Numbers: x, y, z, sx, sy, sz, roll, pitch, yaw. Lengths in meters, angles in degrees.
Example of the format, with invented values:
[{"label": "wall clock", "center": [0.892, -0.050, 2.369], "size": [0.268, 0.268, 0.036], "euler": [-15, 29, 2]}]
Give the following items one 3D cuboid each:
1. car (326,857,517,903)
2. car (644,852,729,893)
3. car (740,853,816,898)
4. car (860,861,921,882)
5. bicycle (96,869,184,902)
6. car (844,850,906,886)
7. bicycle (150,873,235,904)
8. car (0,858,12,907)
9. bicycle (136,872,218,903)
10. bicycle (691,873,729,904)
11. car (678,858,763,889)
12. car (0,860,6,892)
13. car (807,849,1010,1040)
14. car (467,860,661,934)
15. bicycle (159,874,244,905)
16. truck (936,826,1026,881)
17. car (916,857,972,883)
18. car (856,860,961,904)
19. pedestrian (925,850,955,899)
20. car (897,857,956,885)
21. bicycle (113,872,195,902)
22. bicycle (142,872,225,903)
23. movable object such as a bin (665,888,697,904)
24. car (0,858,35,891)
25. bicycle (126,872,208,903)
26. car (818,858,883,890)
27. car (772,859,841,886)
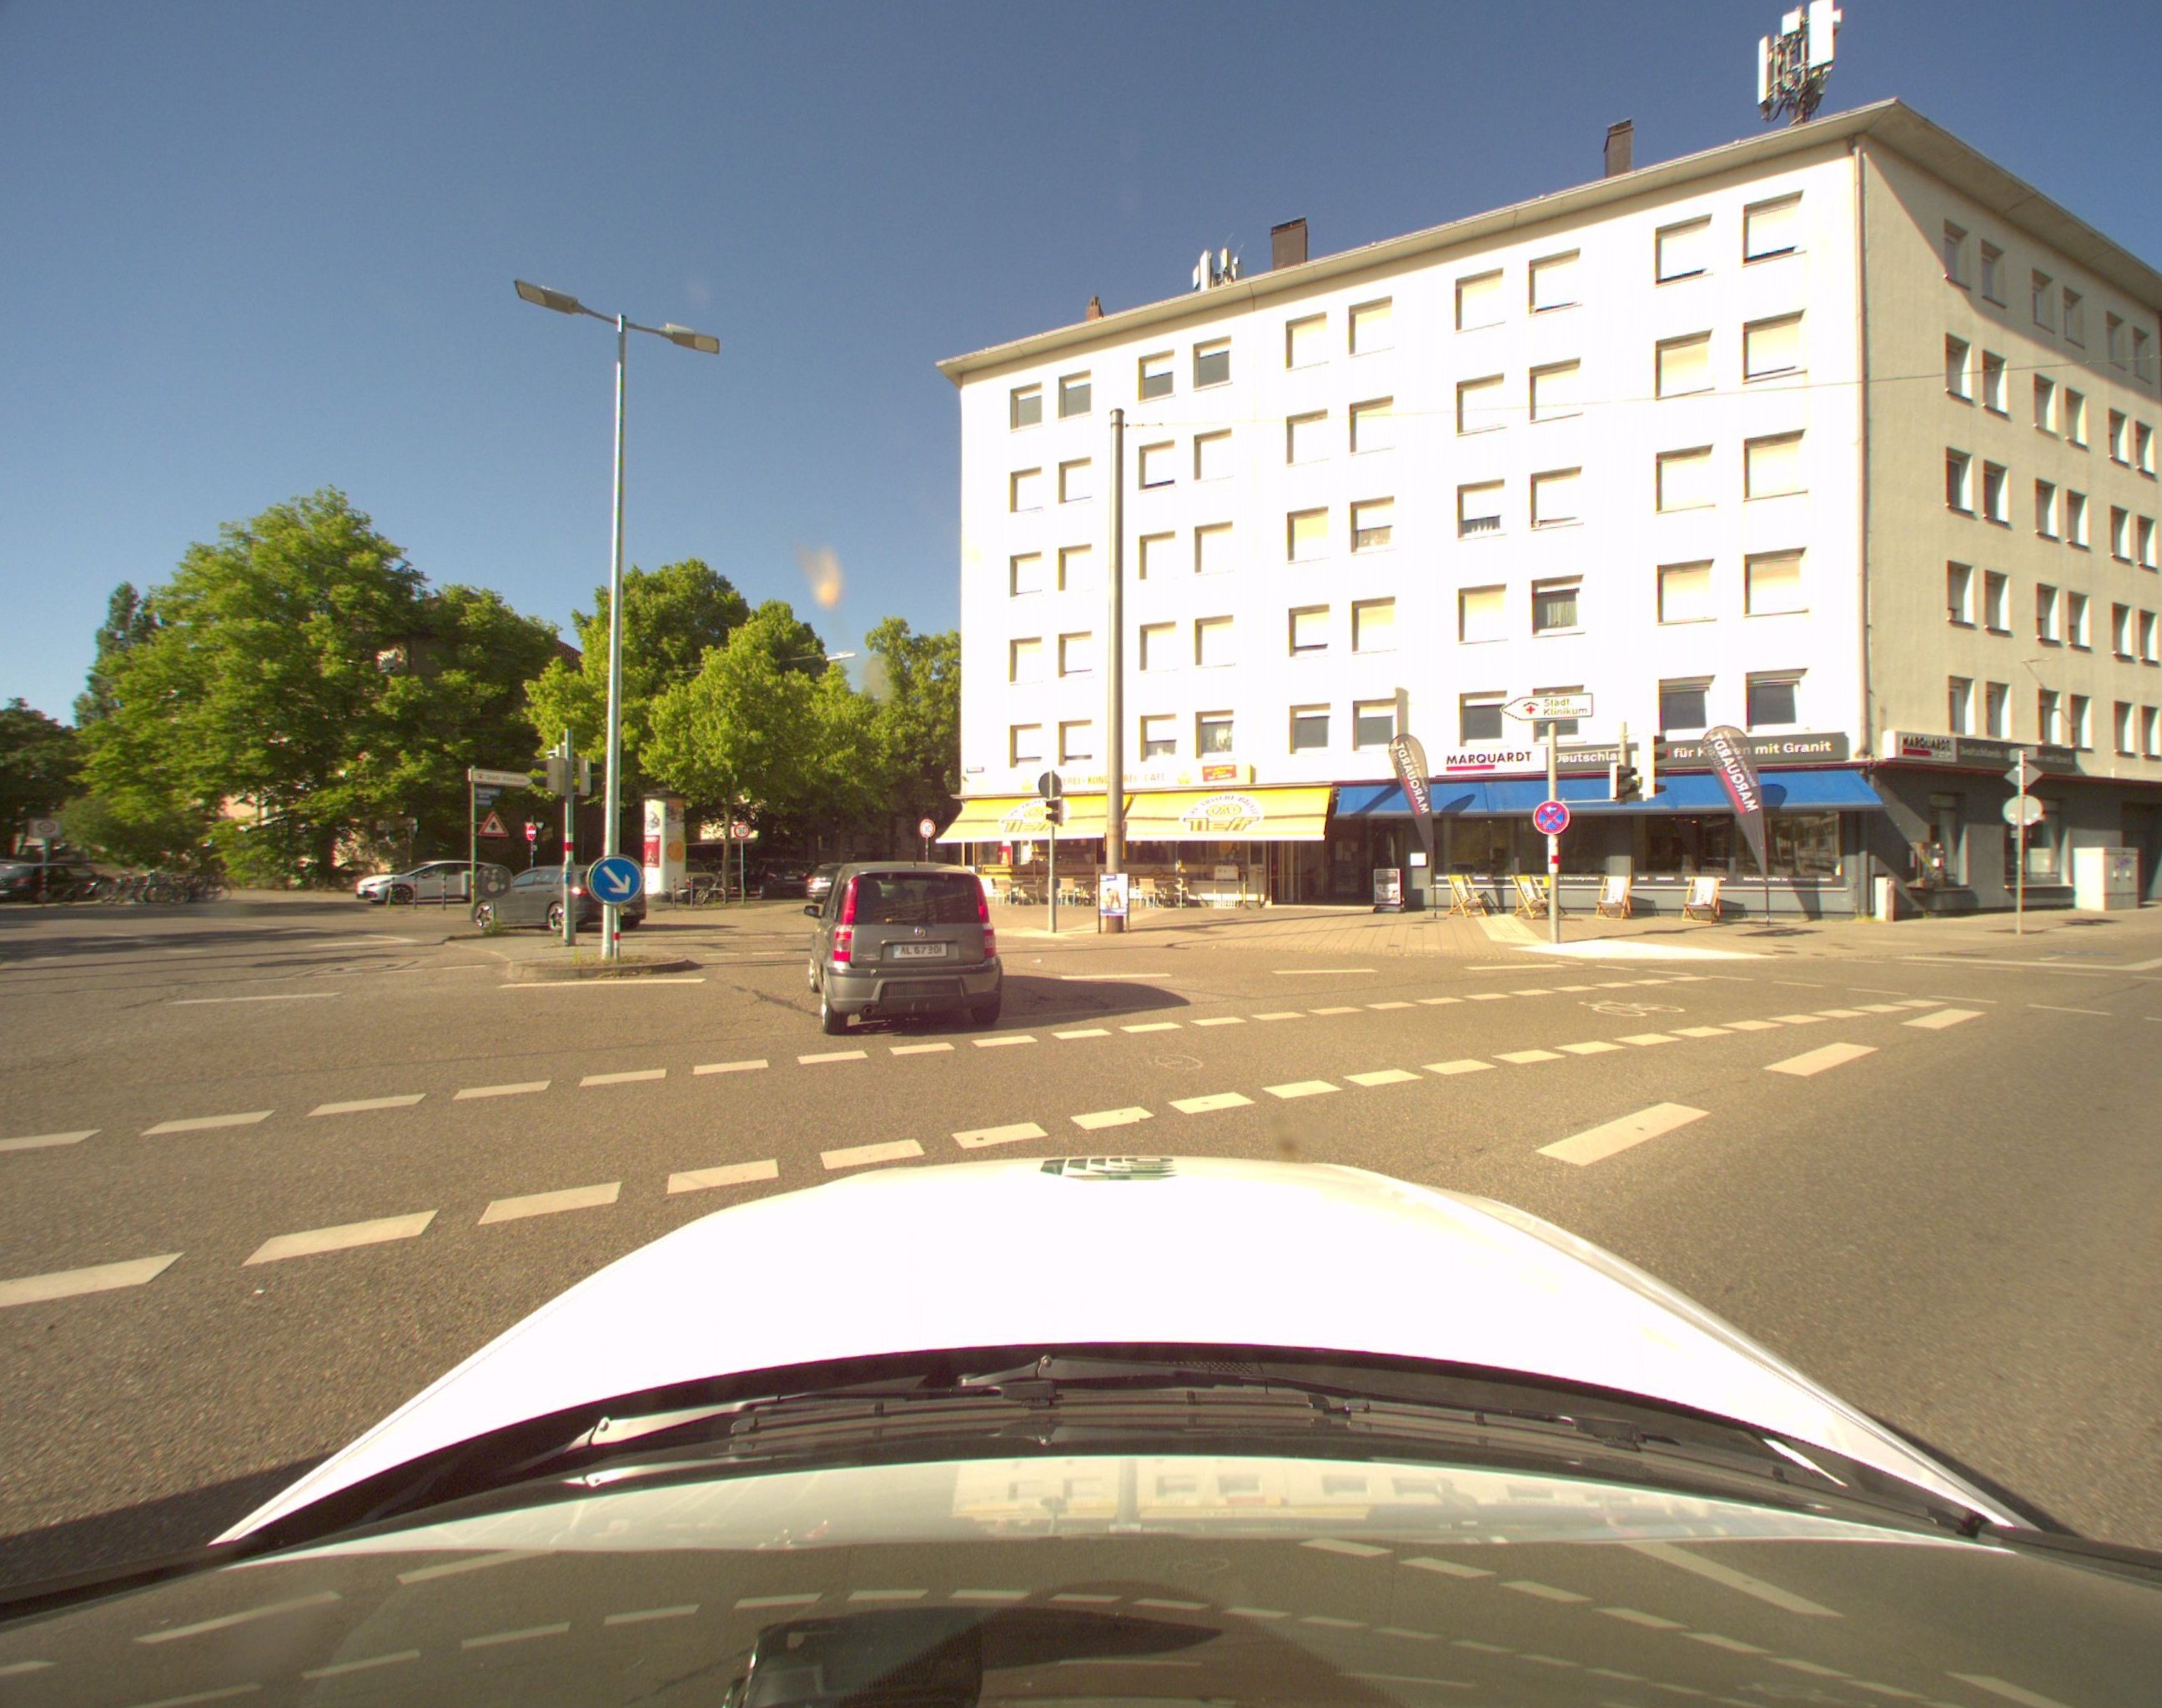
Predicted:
[{"label": "car", "center": [-23.925, 0.880, 29.802], "size": [1.899, 1.518, 5.068], "euler": [0, 0, 29]}, {"label": "car", "center": [-16.464, 0.761, 33.936], "size": [3.950, 1.610, 1.934], "euler": [-1, -1, 44]}, {"label": "car", "center": [-12.888, 0.866, 34.510], "size": [1.846, 1.671, 4.288], "euler": [0, 1, -38]}, {"label": "car", "center": [-12.561, 1.138, 53.922], "size": [1.749, 1.295, 4.435], "euler": [-2, -1, 19]}, {"label": "bicycle", "center": [-35.051, 1.152, 30.372], "size": [0.661, 1.177, 2.042], "euler": [-1, 0, 14]}, {"label": "car", "center": [-11.326, 0.753, 44.509], "size": [1.943, 1.873, 4.456], "euler": [0, 0, -33]}, {"label": "bicycle", "center": [-32.241, 1.220, 29.594], "size": [0.565, 1.031, 2.042], "euler": [-1, 0, 14]}, {"label": "car", "center": [-35.426, 0.879, 25.473], "size": [3.551, 1.508, 1.694], "euler": [0, -1, 26]}, {"label": "bicycle", "center": [-33.224, 1.208, 29.969], "size": [0.443, 1.031, 2.042], "euler": [-1, 0, 14]}, {"label": "bicycle", "center": [-13.474, 1.230, 29.609], "size": [0.350, 1.072, 1.598], "euler": [0, -1, 12]}, {"label": "car", "center": [-18.081, 0.949, 41.000], "size": [1.740, 1.486, 3.966], "euler": [0, 0, 16]}, {"label": "car", "center": [-51.517, 1.023, 36.612], "size": [1.612, 1.481, 3.590], "euler": [0, 0, -2]}, {"label": "car", "center": [-1.949, 0.745, 8.477], "size": [1.622, 1.562, 3.235], "euler": [0, 0, -20]}, {"label": "car", "center": [-11.406, 0.879, 18.000], "size": [3.714, 1.508, 1.692], "euler": [0, -1, 20]}, {"label": "bicycle", "center": [-31.593, 1.246, 29.307], "size": [0.565, 1.031, 2.042], "euler": [-1, 0, 14]}, {"label": "truck", "center": [-6.577, 0.017, 52.487], "size": [2.558, 3.294, 7.245], "euler": [0, -1, -36]}, {"label": "car", "center": [-8.535, 0.960, 50.429], "size": [1.820, 1.507, 4.298], "euler": [0, 0, -33]}, {"label": "car", "center": [-6.252, 0.966, 29.961], "size": [1.704, 1.497, 4.045], "euler": [0, 0, 24]}, {"label": "pedestrian", "center": [-4.997, 0.724, 28.828], "size": [0.752, 1.722, 0.750], "euler": [0, -1, 28]}, {"label": "car", "center": [-8.830, 0.930, 46.281], "size": [1.820, 1.507, 4.298], "euler": [0, 0, -33]}, {"label": "bicycle", "center": [-34.380, 1.199, 30.245], "size": [0.443, 1.031, 2.042], "euler": [-1, 0, 14]}, {"label": "bicycle", "center": [-32.770, 1.203, 29.771], "size": [0.464, 1.031, 2.042], "euler": [-1, 0, 14]}, {"label": "movable object such as a bin", "center": [-14.766, 1.543, 30.087], "size": [0.573, 0.565, 1.114], "euler": [0, 0, 2]}, {"label": "car", "center": [-48.873, 0.905, 35.614], "size": [1.612, 1.481, 3.590], "euler": [0, 0, -2]}, {"label": "bicycle", "center": [-33.796, 1.225, 30.143], "size": [0.443, 1.031, 2.042], "euler": [-1, 0, 14]}, {"label": "car", "center": [-11.516, 0.961, 40.509], "size": [1.770, 1.481, 3.780], "euler": [0, -1, -39]}, {"label": "car", "center": [-15.675, 1.029, 46.687], "size": [1.740, 1.486, 3.966], "euler": [0, 0, 16]}]
